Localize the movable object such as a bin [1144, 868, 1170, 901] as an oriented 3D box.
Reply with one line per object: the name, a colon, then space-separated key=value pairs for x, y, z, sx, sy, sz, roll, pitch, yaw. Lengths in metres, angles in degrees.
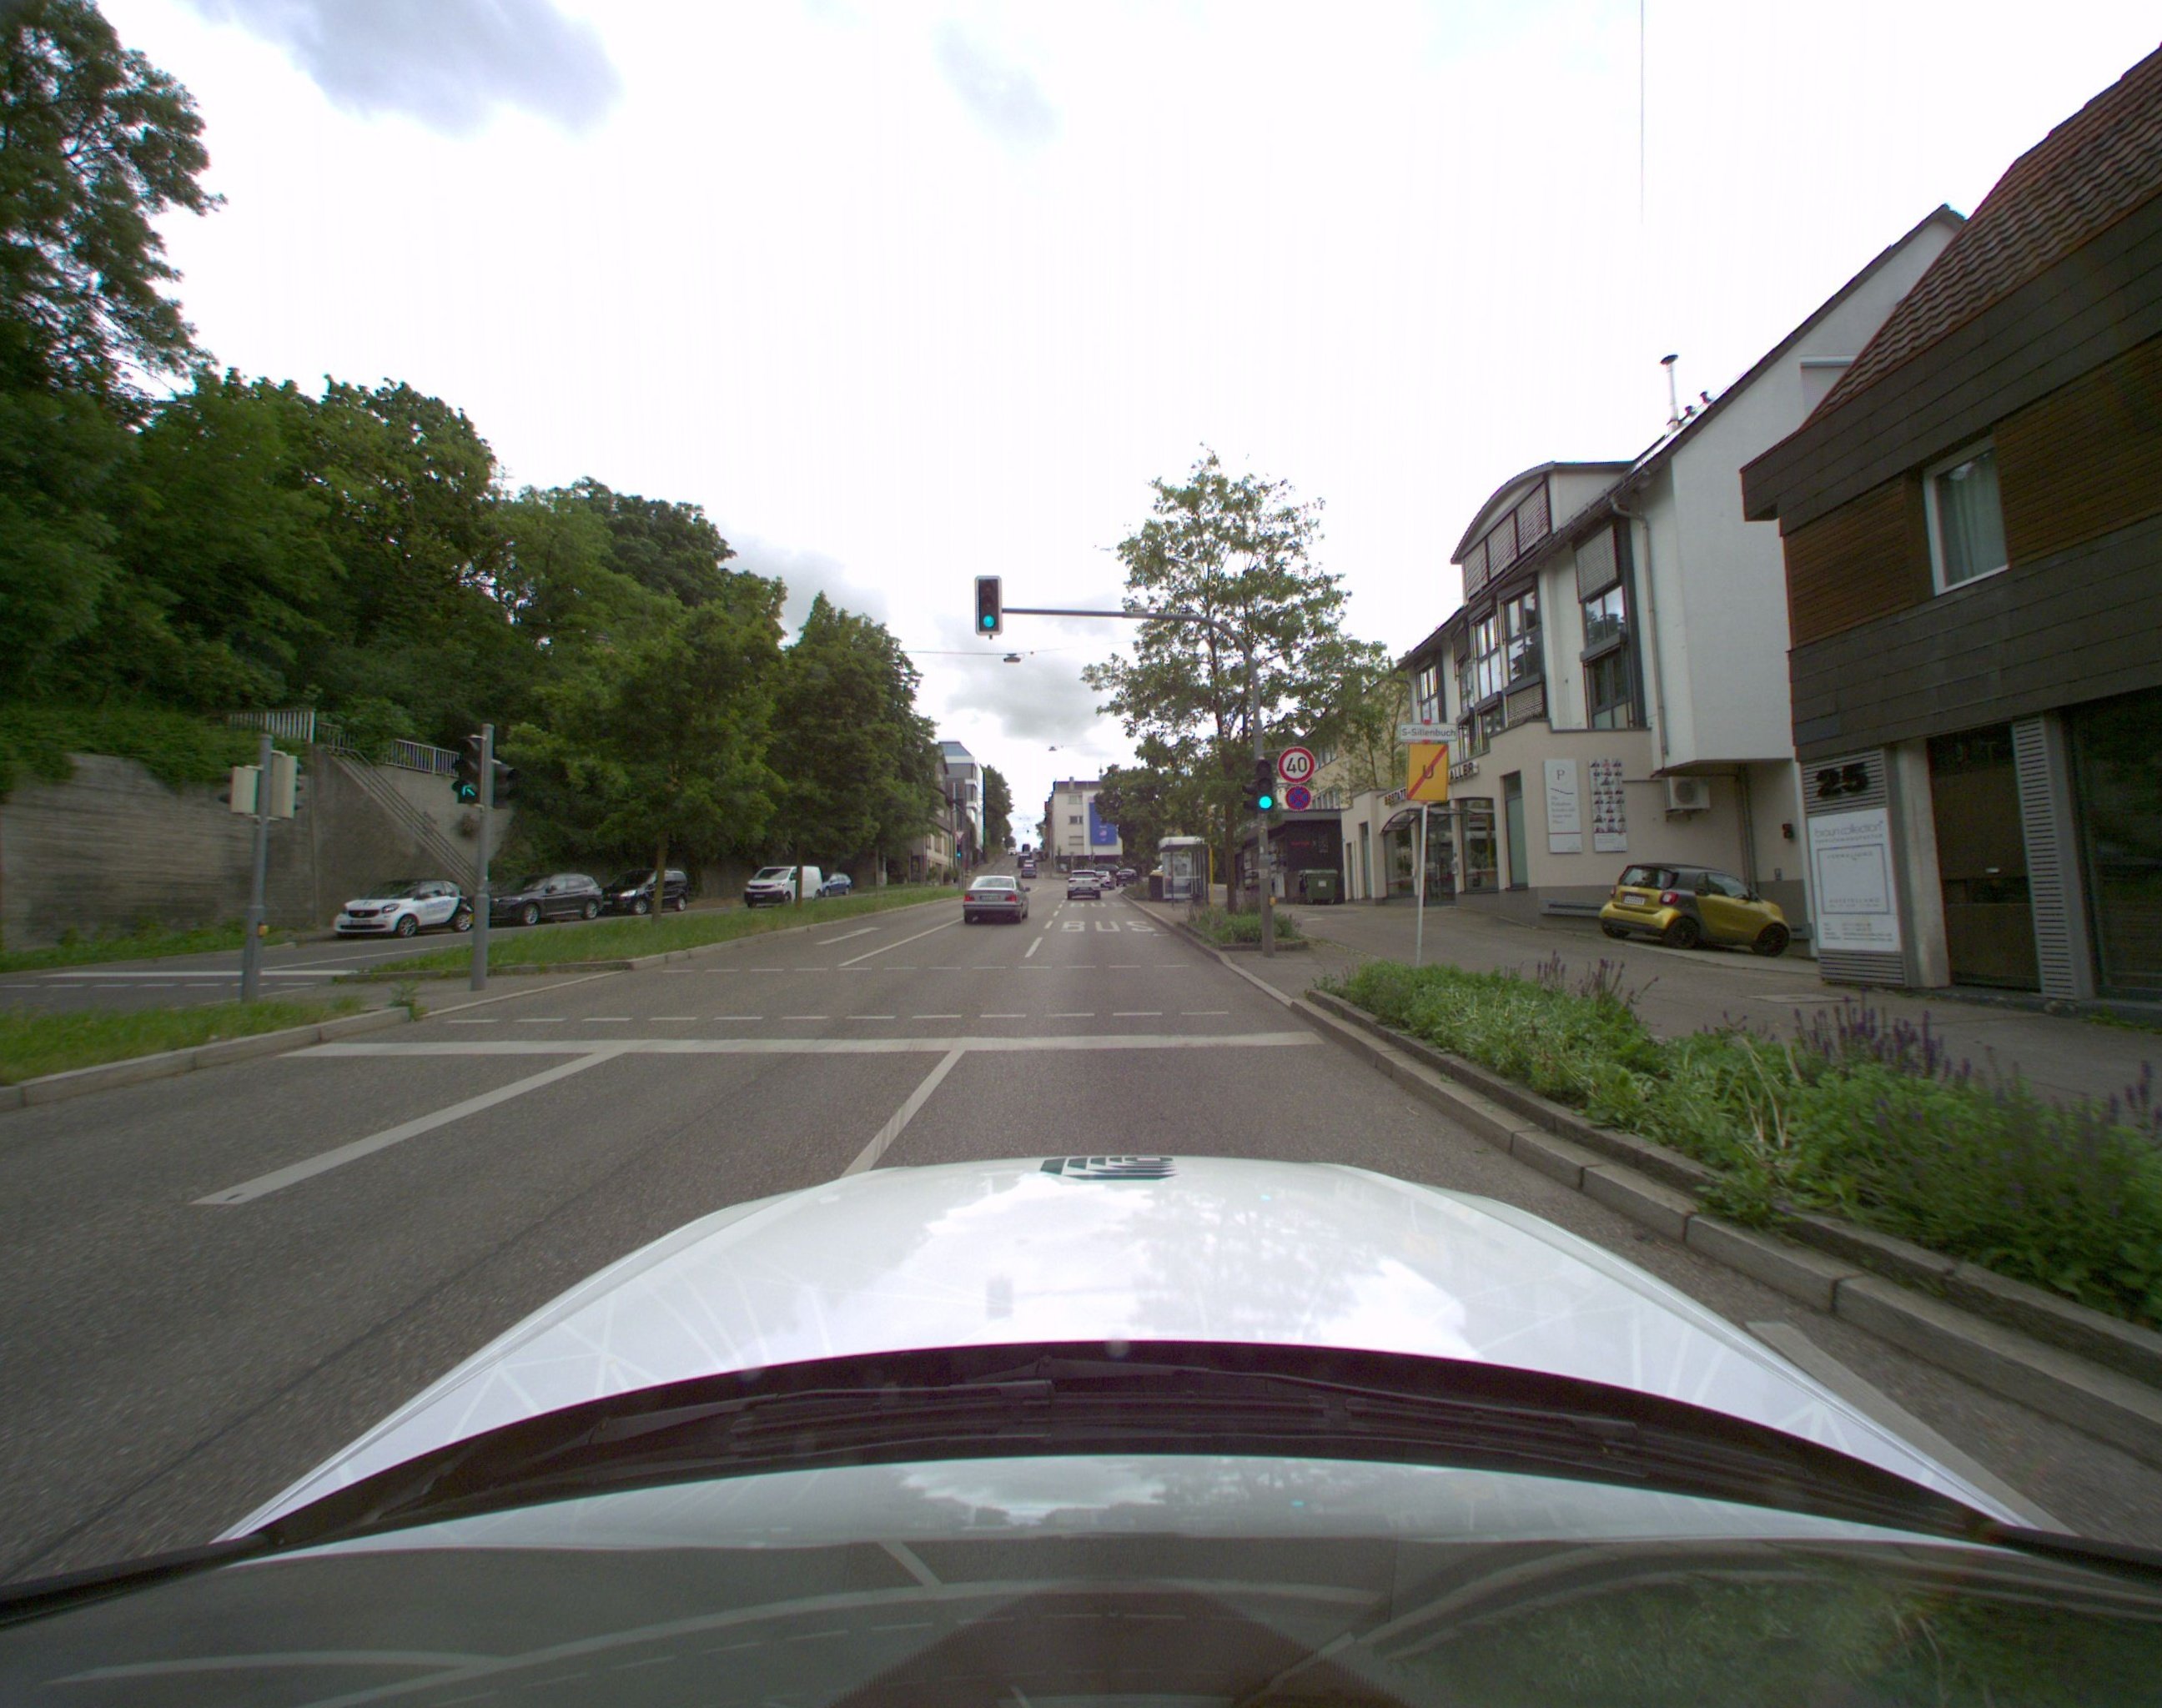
movable object such as a bin: x=3.488 y=1.392 z=37.319 sx=1.081 sy=1.482 sz=1.537 roll=0 pitch=-1 yaw=1

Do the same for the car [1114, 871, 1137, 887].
car: x=4.092 y=2.226 z=74.026 sx=1.784 sy=1.410 sz=4.008 roll=0 pitch=-1 yaw=8

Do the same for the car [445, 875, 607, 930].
car: x=-18.074 y=1.516 z=26.846 sx=1.960 sy=1.657 sz=4.537 roll=0 pitch=-1 yaw=5

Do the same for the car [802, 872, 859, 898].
car: x=-15.636 y=1.889 z=51.032 sx=1.702 sy=1.528 sz=4.311 roll=0 pitch=-1 yaw=9

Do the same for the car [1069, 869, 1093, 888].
car: x=0.023 y=2.140 z=71.624 sx=1.772 sy=1.579 sz=4.003 roll=0 pitch=-1 yaw=4

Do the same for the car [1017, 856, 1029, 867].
car: x=-8.582 y=1.123 z=120.729 sx=1.776 sy=1.579 sz=3.995 roll=-1 pitch=-1 yaw=-3

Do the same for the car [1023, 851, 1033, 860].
car: x=-9.689 y=0.217 z=148.569 sx=1.776 sy=1.579 sz=3.995 roll=0 pitch=-1 yaw=-3

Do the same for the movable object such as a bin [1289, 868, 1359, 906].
movable object such as a bin: x=9.981 y=1.327 z=33.724 sx=1.881 sy=1.452 sz=4.002 roll=-1 pitch=-1 yaw=2

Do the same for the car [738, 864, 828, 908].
car: x=-14.108 y=1.467 z=38.917 sx=1.928 sy=1.958 sz=5.031 roll=-1 pitch=-1 yaw=7

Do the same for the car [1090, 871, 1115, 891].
car: x=1.578 y=2.007 z=61.962 sx=1.774 sy=1.410 sz=3.999 roll=0 pitch=-1 yaw=0

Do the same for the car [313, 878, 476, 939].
car: x=-18.505 y=1.419 z=22.137 sx=1.774 sy=1.498 sz=3.097 roll=0 pitch=-1 yaw=0

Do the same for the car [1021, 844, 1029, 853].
car: x=-13.158 y=-1.391 z=191.723 sx=1.989 sy=2.014 sz=3.995 roll=0 pitch=-1 yaw=-3

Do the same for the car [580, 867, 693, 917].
car: x=-17.640 y=1.448 z=32.593 sx=1.772 sy=1.843 sz=4.492 roll=0 pitch=-1 yaw=4

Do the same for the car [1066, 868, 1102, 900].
car: x=0.148 y=1.574 z=43.658 sx=1.774 sy=1.579 sz=3.999 roll=-1 pitch=-1 yaw=0

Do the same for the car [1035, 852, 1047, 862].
car: x=-6.812 y=0.506 z=139.376 sx=2.084 sy=1.613 sz=3.996 roll=-1 pitch=-1 yaw=-2

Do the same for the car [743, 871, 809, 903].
car: x=-16.654 y=1.779 z=44.675 sx=1.771 sy=1.629 sz=4.175 roll=0 pitch=-1 yaw=5

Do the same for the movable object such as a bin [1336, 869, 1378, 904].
movable object such as a bin: x=11.384 y=1.331 z=33.639 sx=1.335 sy=1.409 sz=1.128 roll=-1 pitch=-1 yaw=2

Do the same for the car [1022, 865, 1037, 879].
car: x=-6.182 y=2.118 z=97.787 sx=1.776 sy=1.579 sz=3.995 roll=0 pitch=-1 yaw=-3

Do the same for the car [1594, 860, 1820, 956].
car: x=11.687 y=0.972 z=15.319 sx=2.986 sy=1.464 sz=1.663 roll=5 pitch=0 yaw=-6

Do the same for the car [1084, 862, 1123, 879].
car: x=2.870 y=2.126 z=104.480 sx=4.678 sy=1.712 sz=2.316 roll=4 pitch=2 yaw=-4

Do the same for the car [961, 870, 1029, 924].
car: x=-2.503 y=1.220 z=24.501 sx=1.702 sy=1.464 sz=3.997 roll=0 pitch=-1 yaw=-2

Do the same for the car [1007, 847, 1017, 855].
car: x=-14.507 y=-0.657 z=170.948 sx=1.879 sy=1.567 sz=4.384 roll=-1 pitch=2 yaw=-4
